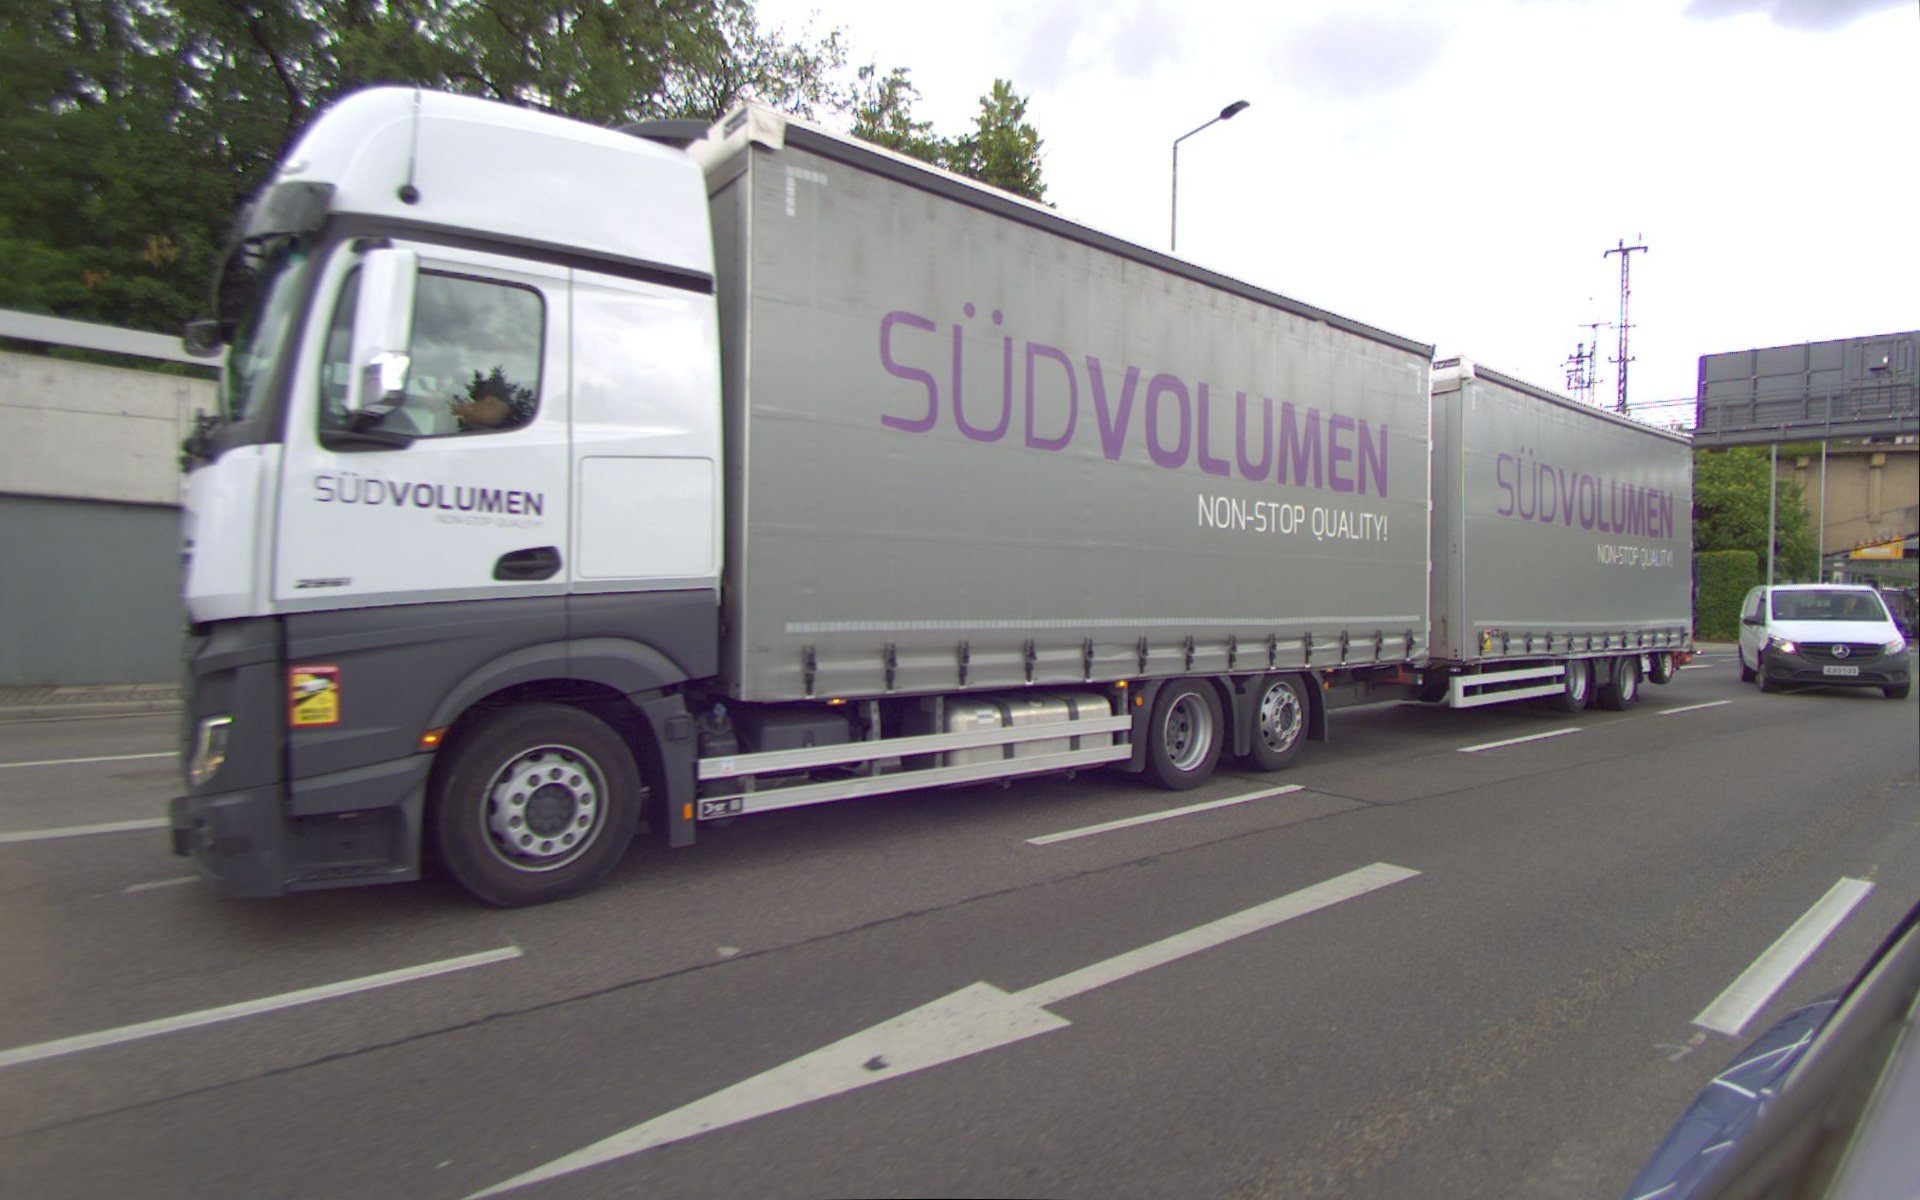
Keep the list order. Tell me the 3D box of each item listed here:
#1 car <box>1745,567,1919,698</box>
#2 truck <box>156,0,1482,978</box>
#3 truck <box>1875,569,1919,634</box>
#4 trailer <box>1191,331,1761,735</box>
[{"bbox_3d":[15.556,0.491,18.180,1.987,2.015,5.134,0,0,35],"label":"car"},{"bbox_3d":[0.100,-0.732,8.569,10.786,4.194,3.732,0,0,-39],"label":"truck"},{"bbox_3d":[56.572,0.058,59.283,2.554,3.613,9.016,0,0,30],"label":"truck"},{"bbox_3d":[8.396,-0.704,15.401,10.786,4.194,3.732,0,0,-39],"label":"trailer"}]
